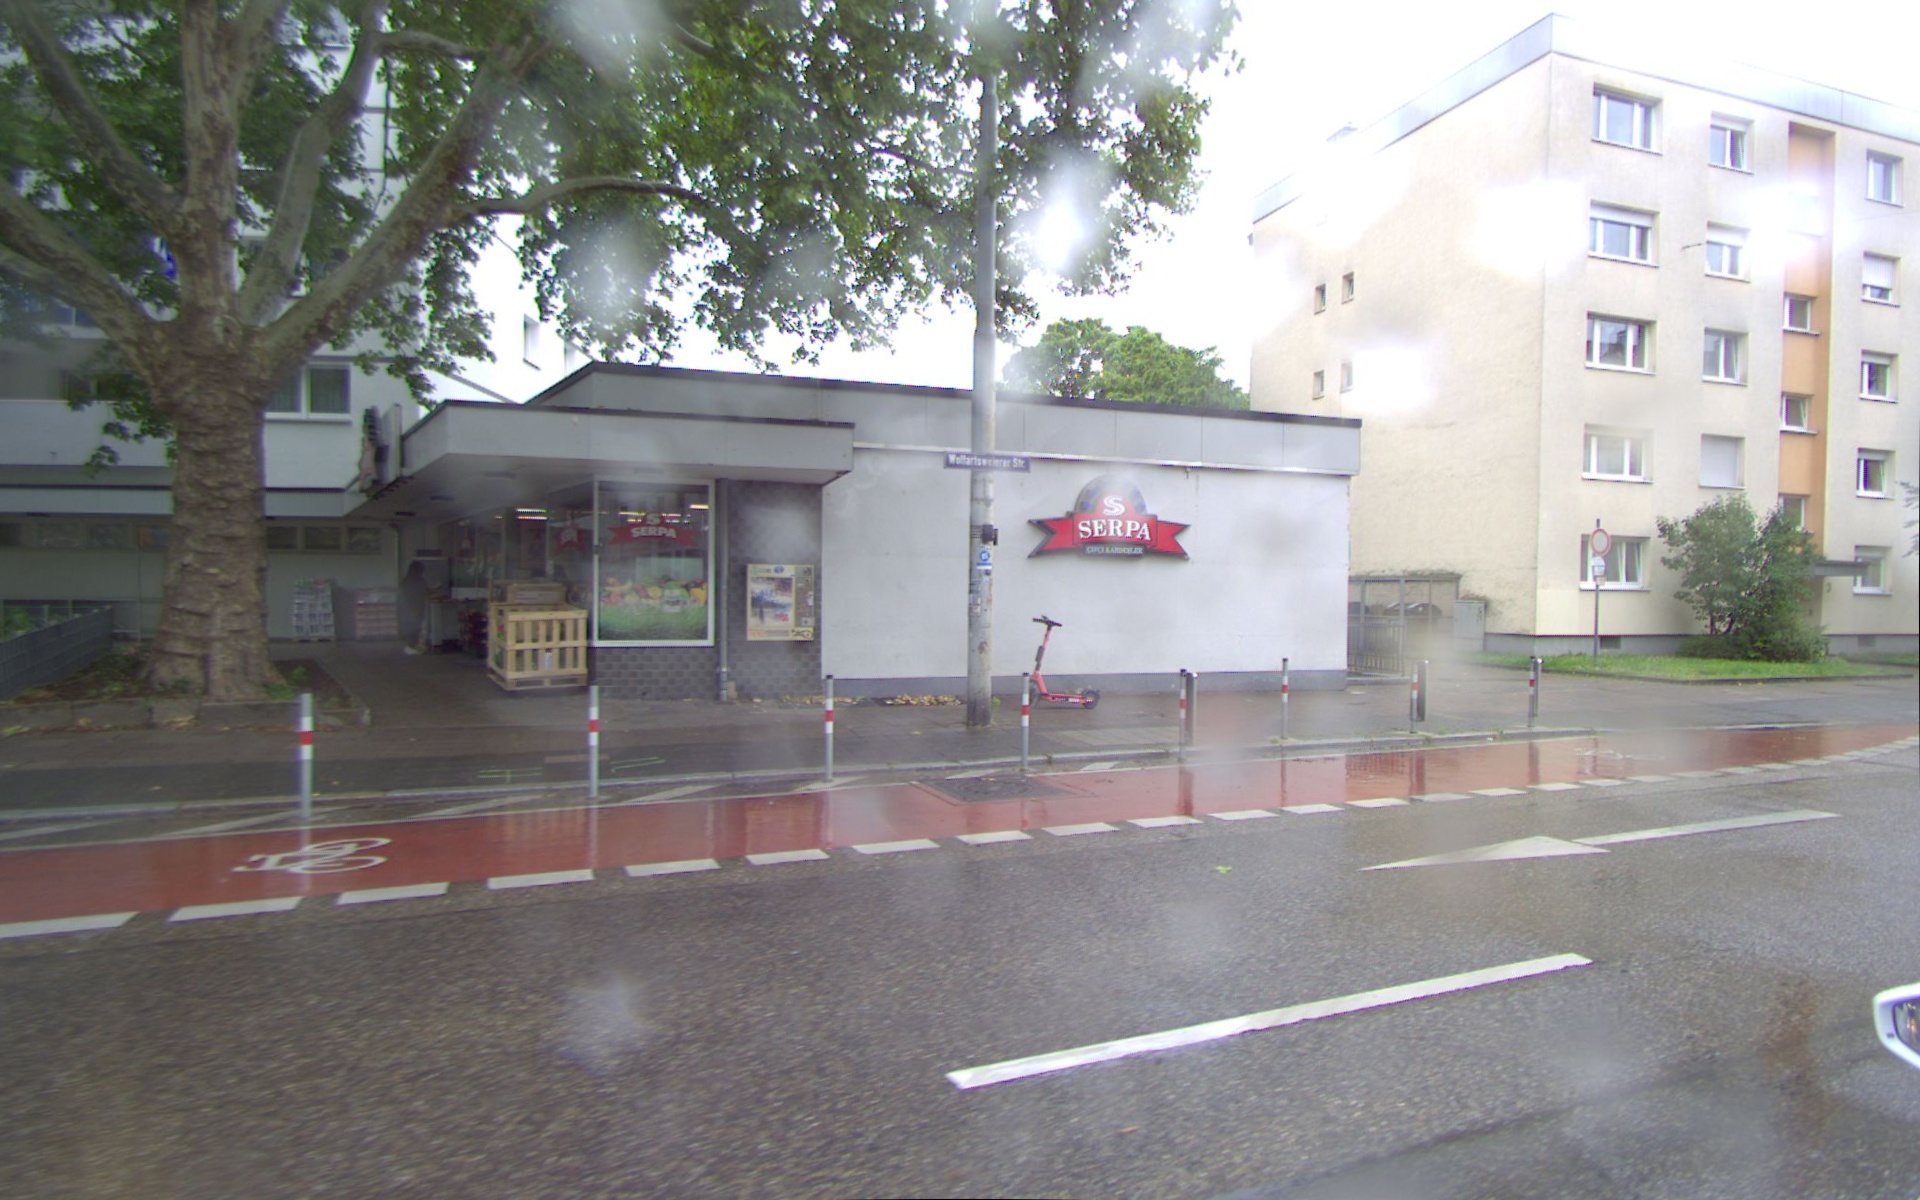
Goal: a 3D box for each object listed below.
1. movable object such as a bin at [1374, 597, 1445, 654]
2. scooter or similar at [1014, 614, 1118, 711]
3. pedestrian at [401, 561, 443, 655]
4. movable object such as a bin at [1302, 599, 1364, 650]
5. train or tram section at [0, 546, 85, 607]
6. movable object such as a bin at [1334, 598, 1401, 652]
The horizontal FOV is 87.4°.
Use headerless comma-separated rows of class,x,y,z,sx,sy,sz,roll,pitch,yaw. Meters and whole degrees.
movable object such as a bin,12.362,0.686,27.662,1.183,1.495,1.327,1,0,-21
scooter or similar,1.455,0.835,13.802,1.354,1.283,0.437,1,1,-20
pedestrian,-9.620,0.137,17.958,0.634,1.651,0.566,0,1,-30
movable object such as a bin,11.372,0.731,30.657,1.183,1.495,1.327,1,0,-21
train or tram section,-56.554,-1.359,57.547,3.013,3.551,11.573,0,0,-2
movable object such as a bin,11.799,0.712,29.119,1.183,1.495,1.327,1,0,-21
